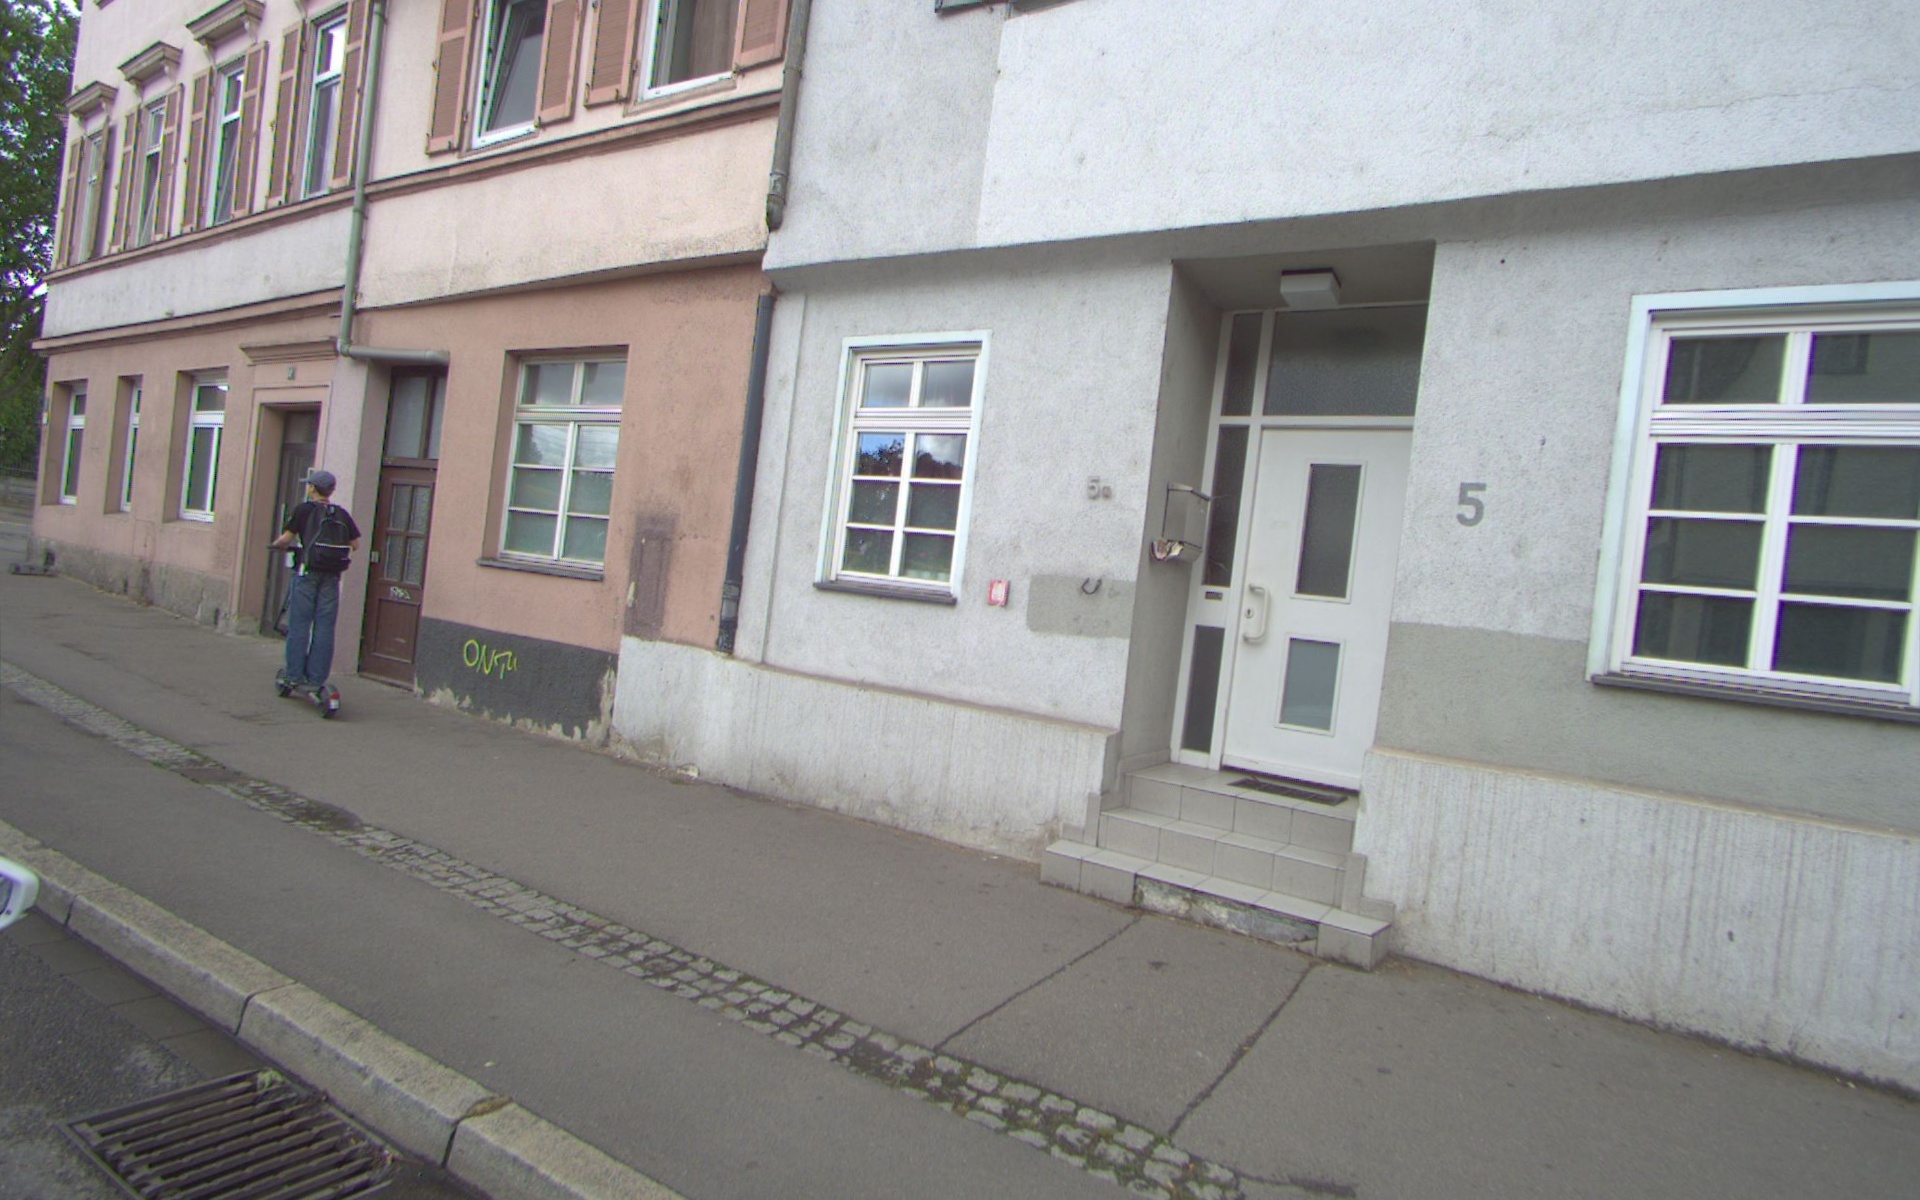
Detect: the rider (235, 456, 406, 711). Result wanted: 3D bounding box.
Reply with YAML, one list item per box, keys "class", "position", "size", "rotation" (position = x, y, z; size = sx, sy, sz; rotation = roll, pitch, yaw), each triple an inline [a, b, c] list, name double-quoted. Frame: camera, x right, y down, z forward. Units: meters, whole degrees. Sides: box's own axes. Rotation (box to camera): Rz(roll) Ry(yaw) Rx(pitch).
- class: "rider"
  position: [-5.042, -0.123, 7.942]
  size: [0.784, 1.870, 0.718]
  rotation: [7, 1, 32]
